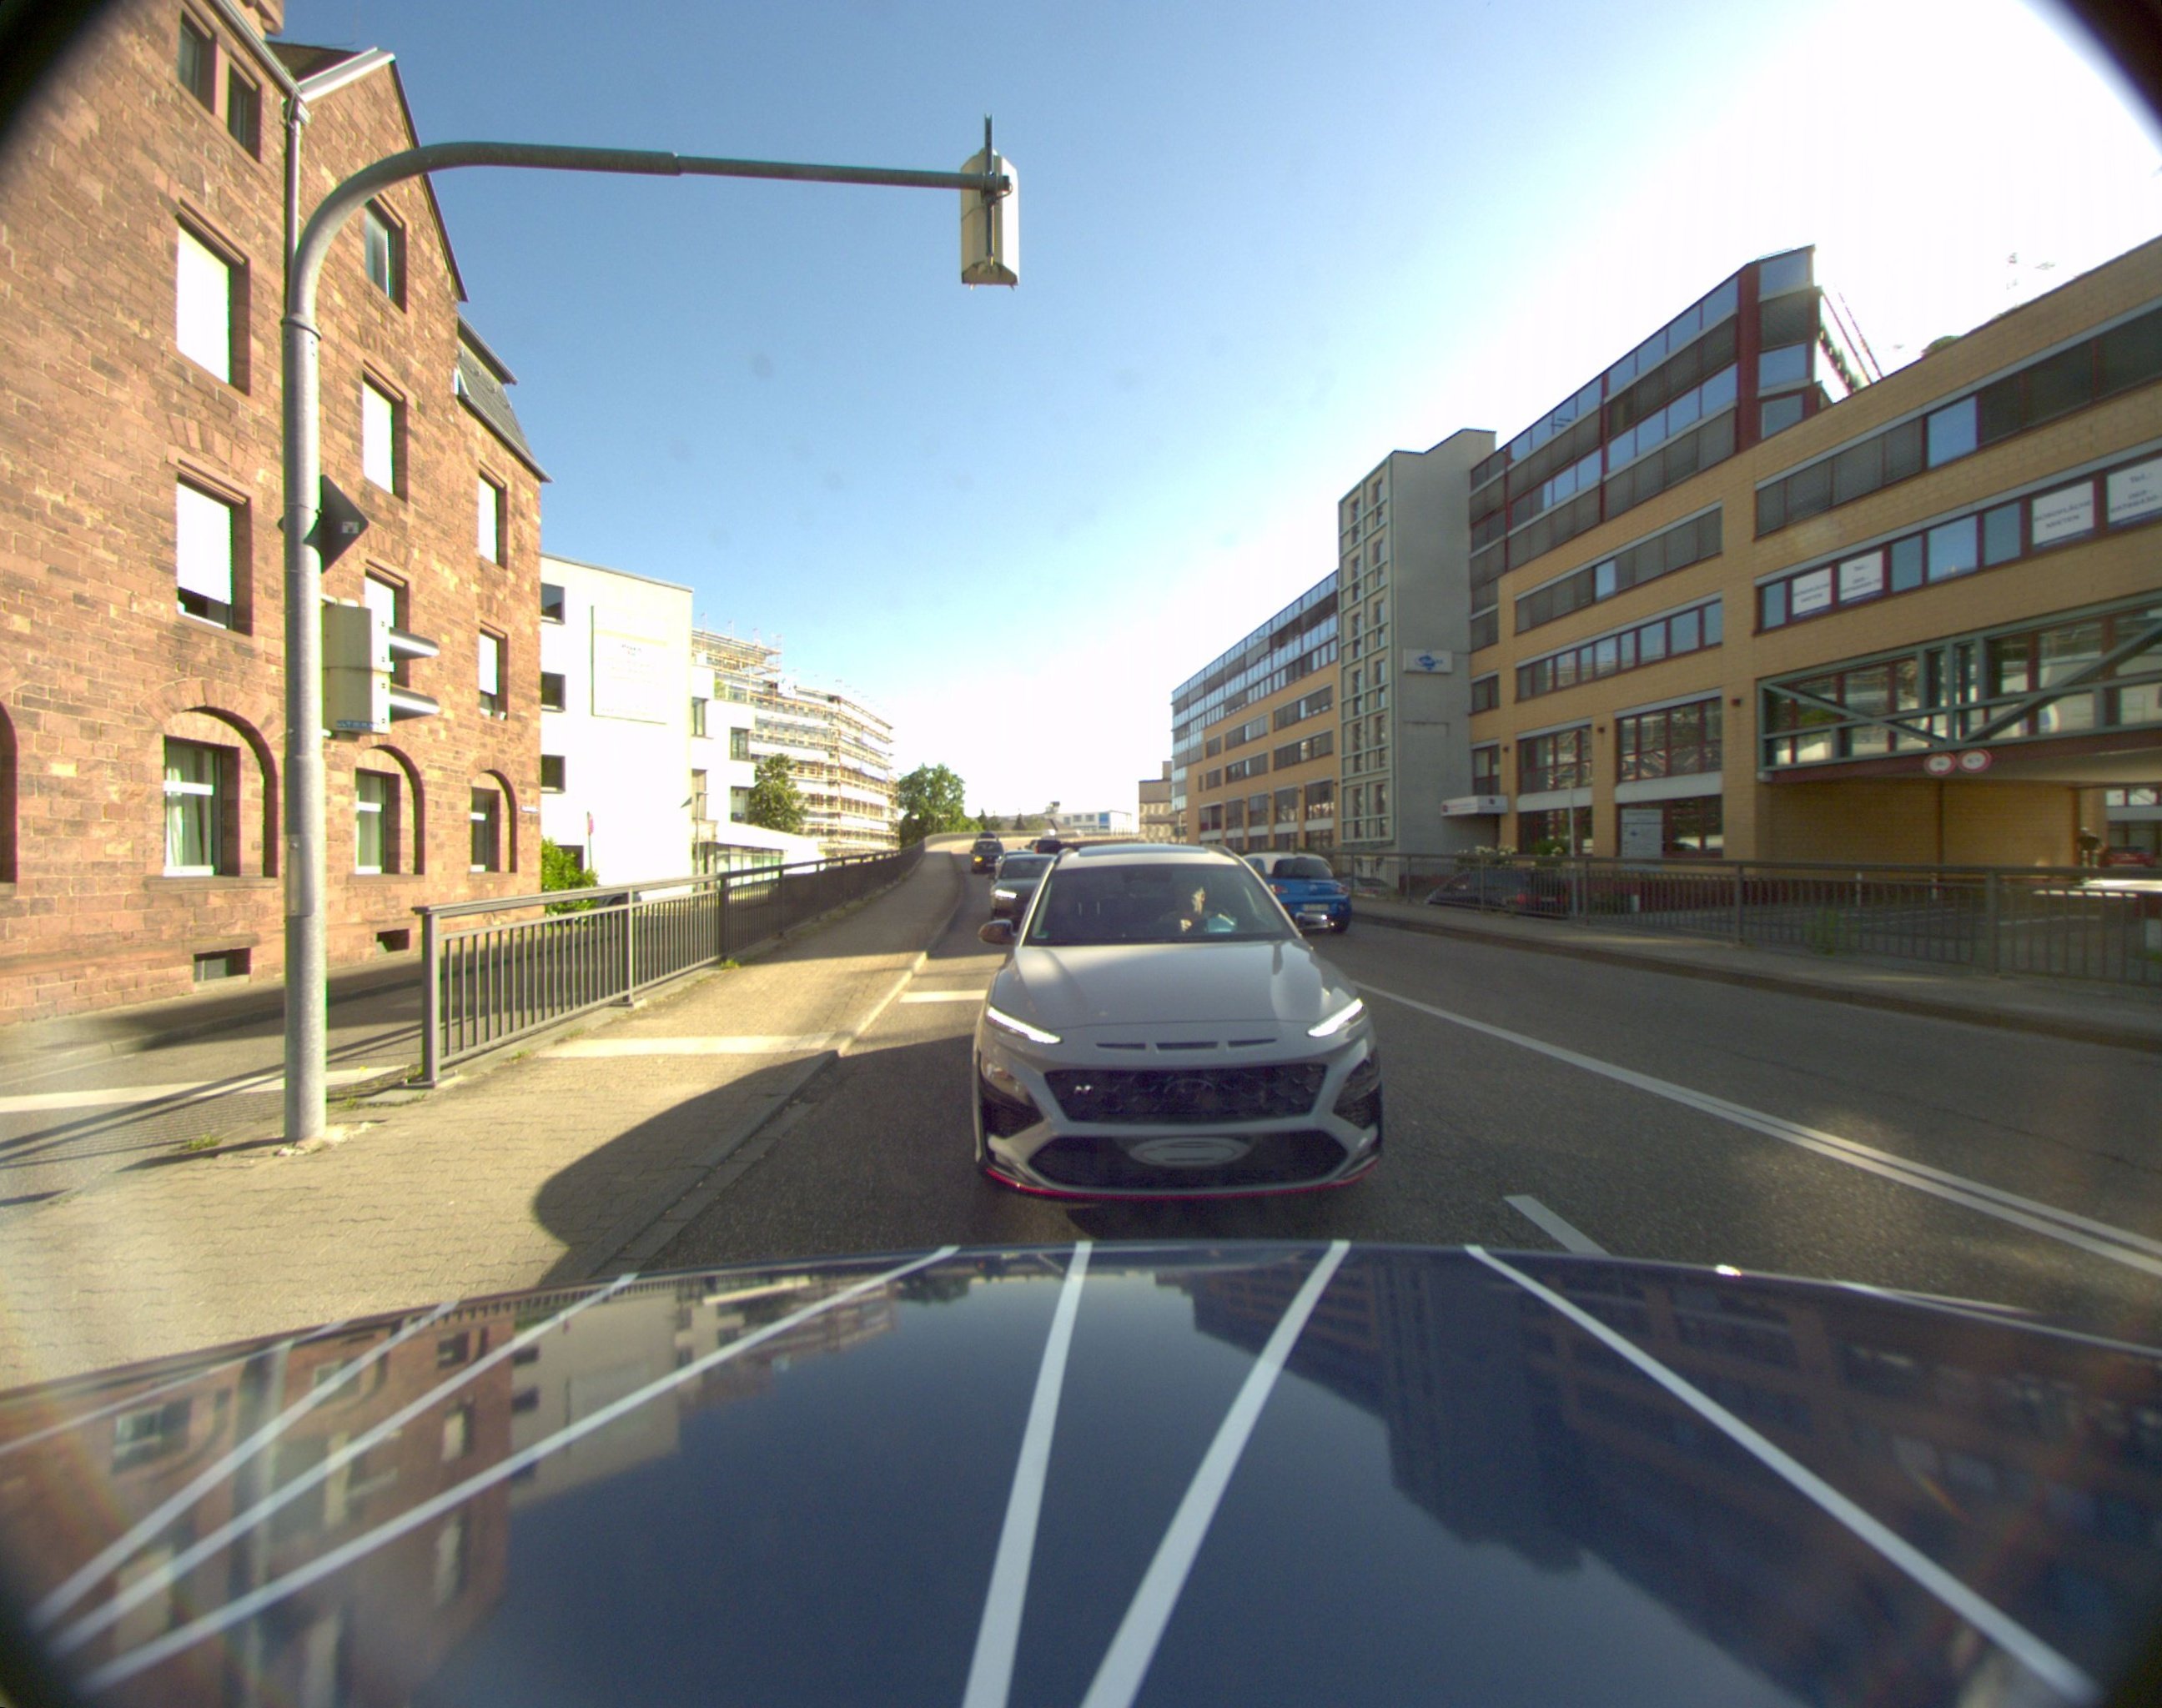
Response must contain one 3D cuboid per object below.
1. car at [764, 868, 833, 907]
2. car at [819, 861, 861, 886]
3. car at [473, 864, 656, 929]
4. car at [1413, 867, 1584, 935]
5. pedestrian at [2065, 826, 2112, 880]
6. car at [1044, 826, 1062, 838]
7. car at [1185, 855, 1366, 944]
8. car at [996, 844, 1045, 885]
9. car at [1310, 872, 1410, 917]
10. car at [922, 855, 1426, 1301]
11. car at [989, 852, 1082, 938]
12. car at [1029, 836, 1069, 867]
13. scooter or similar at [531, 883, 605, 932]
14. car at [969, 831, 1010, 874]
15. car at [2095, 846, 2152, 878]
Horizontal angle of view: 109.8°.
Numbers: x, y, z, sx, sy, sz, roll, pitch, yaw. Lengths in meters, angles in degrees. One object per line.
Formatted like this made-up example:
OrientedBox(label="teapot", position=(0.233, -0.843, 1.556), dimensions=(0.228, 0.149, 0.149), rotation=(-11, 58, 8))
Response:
OrientedBox(label="car", position=(-13.044, 1.500, 35.401), dimensions=(1.850, 1.422, 4.678), rotation=(-1, 2, -6))
OrientedBox(label="car", position=(-15.526, 1.246, 49.148), dimensions=(1.850, 1.526, 3.997), rotation=(0, 0, -7))
OrientedBox(label="car", position=(-16.980, 1.307, 25.193), dimensions=(1.823, 1.757, 4.658), rotation=(1, 2, 42))
OrientedBox(label="car", position=(12.404, 1.309, 22.991), dimensions=(1.957, 1.747, 4.683), rotation=(-1, 0, -11))
OrientedBox(label="pedestrian", position=(34.314, -0.036, 25.878), dimensions=(0.787, 1.833, 0.678), rotation=(0, 0, -12))
OrientedBox(label="car", position=(-4.797, -3.758, 131.304), dimensions=(1.813, 1.791, 5.126), rotation=(0, 0, 14))
OrientedBox(label="car", position=(3.703, 0.779, 15.411), dimensions=(1.826, 1.494, 4.446), rotation=(0, 1, -11))
OrientedBox(label="car", position=(-2.638, 0.387, 32.098), dimensions=(1.850, 1.527, 4.504), rotation=(-1, 2, -7))
OrientedBox(label="car", position=(11.085, 1.568, 30.574), dimensions=(1.826, 1.594, 4.353), rotation=(0, 0, -10))
OrientedBox(label="car", position=(0.316, 0.834, 4.926), dimensions=(1.849, 1.561, 4.220), rotation=(-1, 1, -1))
OrientedBox(label="car", position=(-0.965, 0.764, 16.359), dimensions=(1.721, 1.483, 4.166), rotation=(-1, 2, -3))
OrientedBox(label="car", position=(-2.210, -0.134, 50.555), dimensions=(2.000, 1.924, 4.847), rotation=(0, 0, -10))
OrientedBox(label="scooter or similar", position=(-14.274, 1.478, 21.178), dimensions=(1.463, 1.212, 0.784), rotation=(-3, 1, -14))
OrientedBox(label="car", position=(-5.130, -0.162, 42.339), dimensions=(1.911, 2.201, 4.593), rotation=(-1, 2, -11))
OrientedBox(label="car", position=(53.698, 0.396, 39.181), dimensions=(3.159, 1.564, 1.639), rotation=(0, -1, -38))
